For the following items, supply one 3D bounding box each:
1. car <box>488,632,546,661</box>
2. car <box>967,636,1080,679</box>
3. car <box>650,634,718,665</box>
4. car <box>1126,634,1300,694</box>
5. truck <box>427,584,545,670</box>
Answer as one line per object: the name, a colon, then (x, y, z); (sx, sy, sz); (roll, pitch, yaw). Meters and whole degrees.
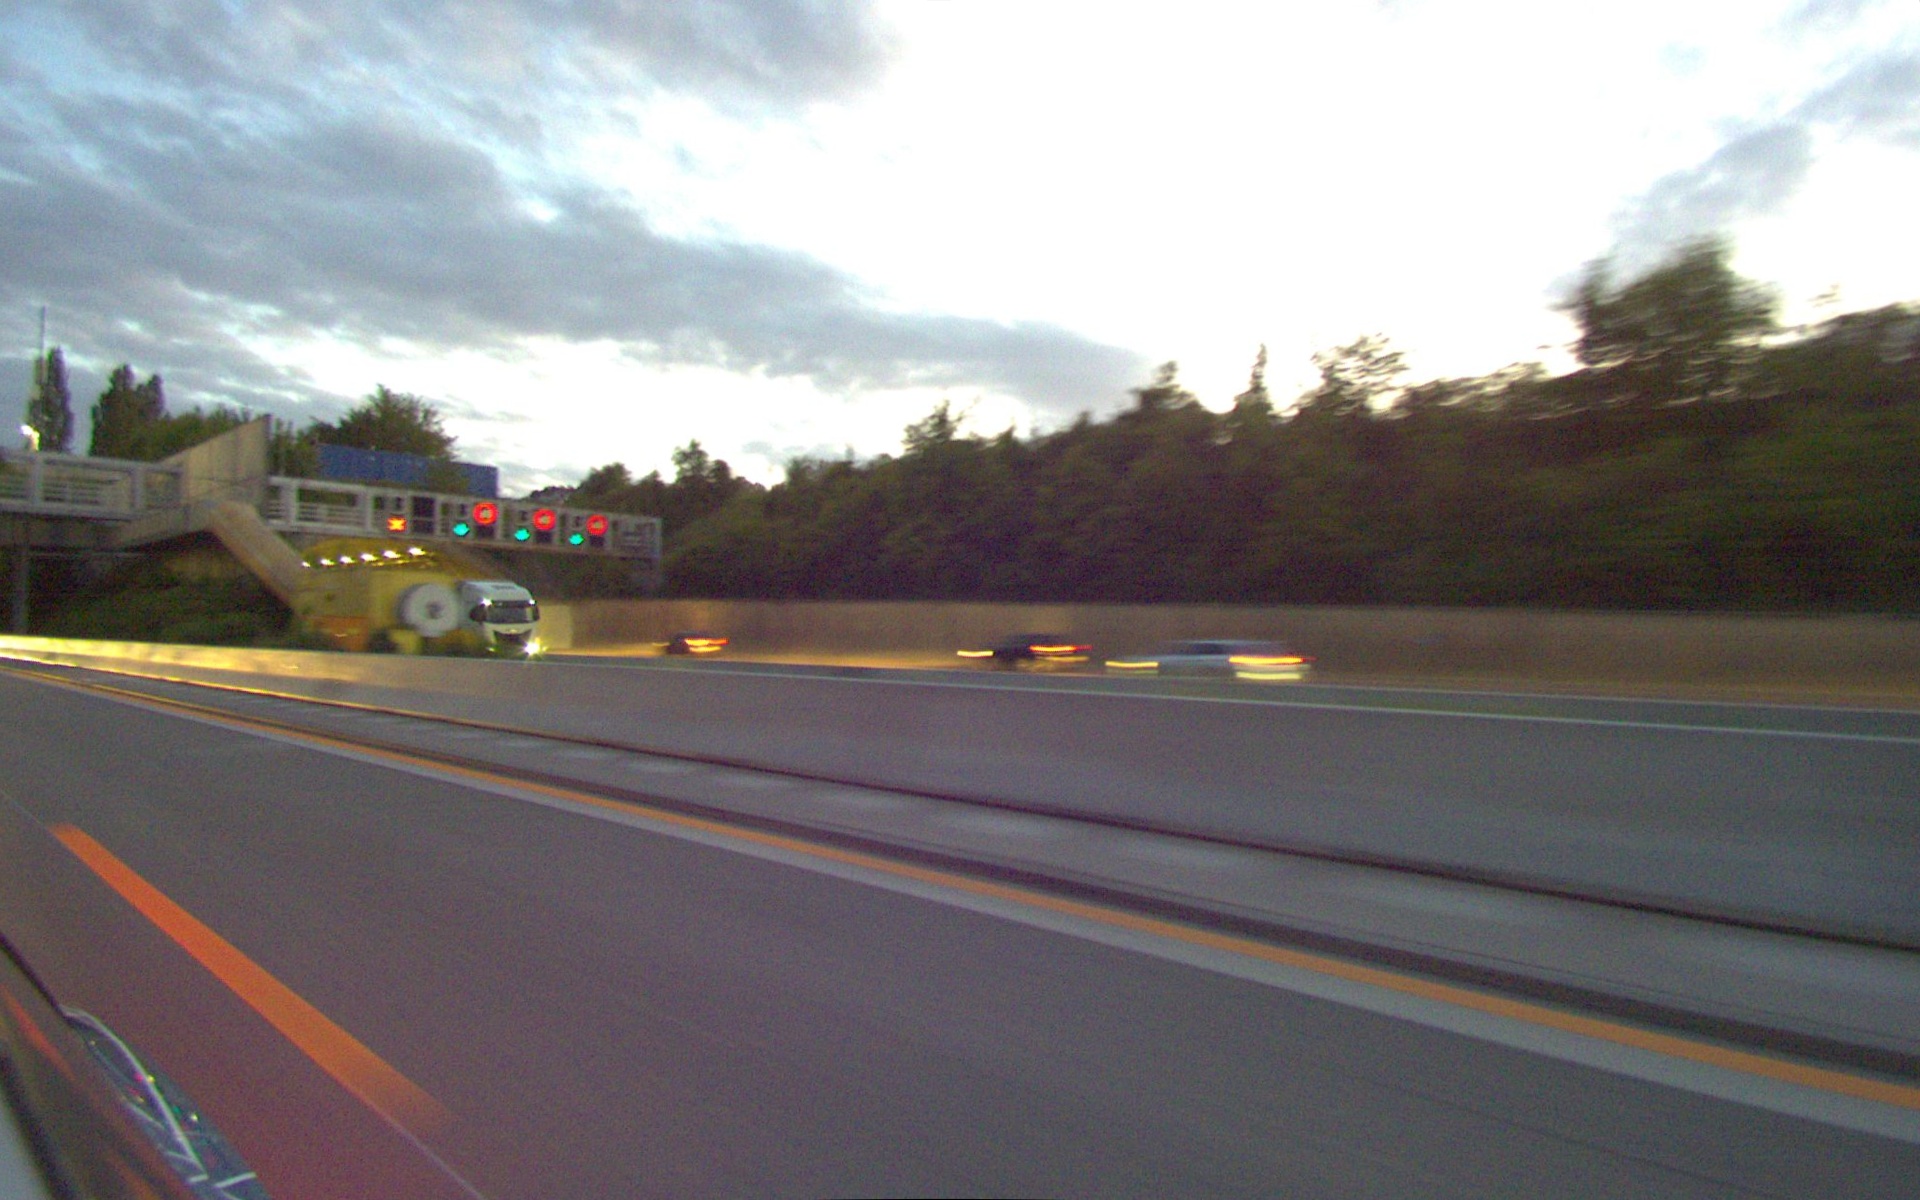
car: (-26.733, 2.786, 61.025); (3.789, 1.582, 1.779); (-1, 0, 41)
car: (2.322, 2.113, 37.945); (4.226, 1.481, 1.559); (-1, -2, 43)
car: (-14.653, 2.588, 53.587); (4.096, 1.481, 1.559); (-1, 0, 43)
car: (7.212, 1.773, 29.145); (4.648, 1.481, 1.654); (-1, 0, 44)
truck: (-22.436, 1.217, 47.753); (6.300, 3.803, 2.773); (-1, 0, 42)
